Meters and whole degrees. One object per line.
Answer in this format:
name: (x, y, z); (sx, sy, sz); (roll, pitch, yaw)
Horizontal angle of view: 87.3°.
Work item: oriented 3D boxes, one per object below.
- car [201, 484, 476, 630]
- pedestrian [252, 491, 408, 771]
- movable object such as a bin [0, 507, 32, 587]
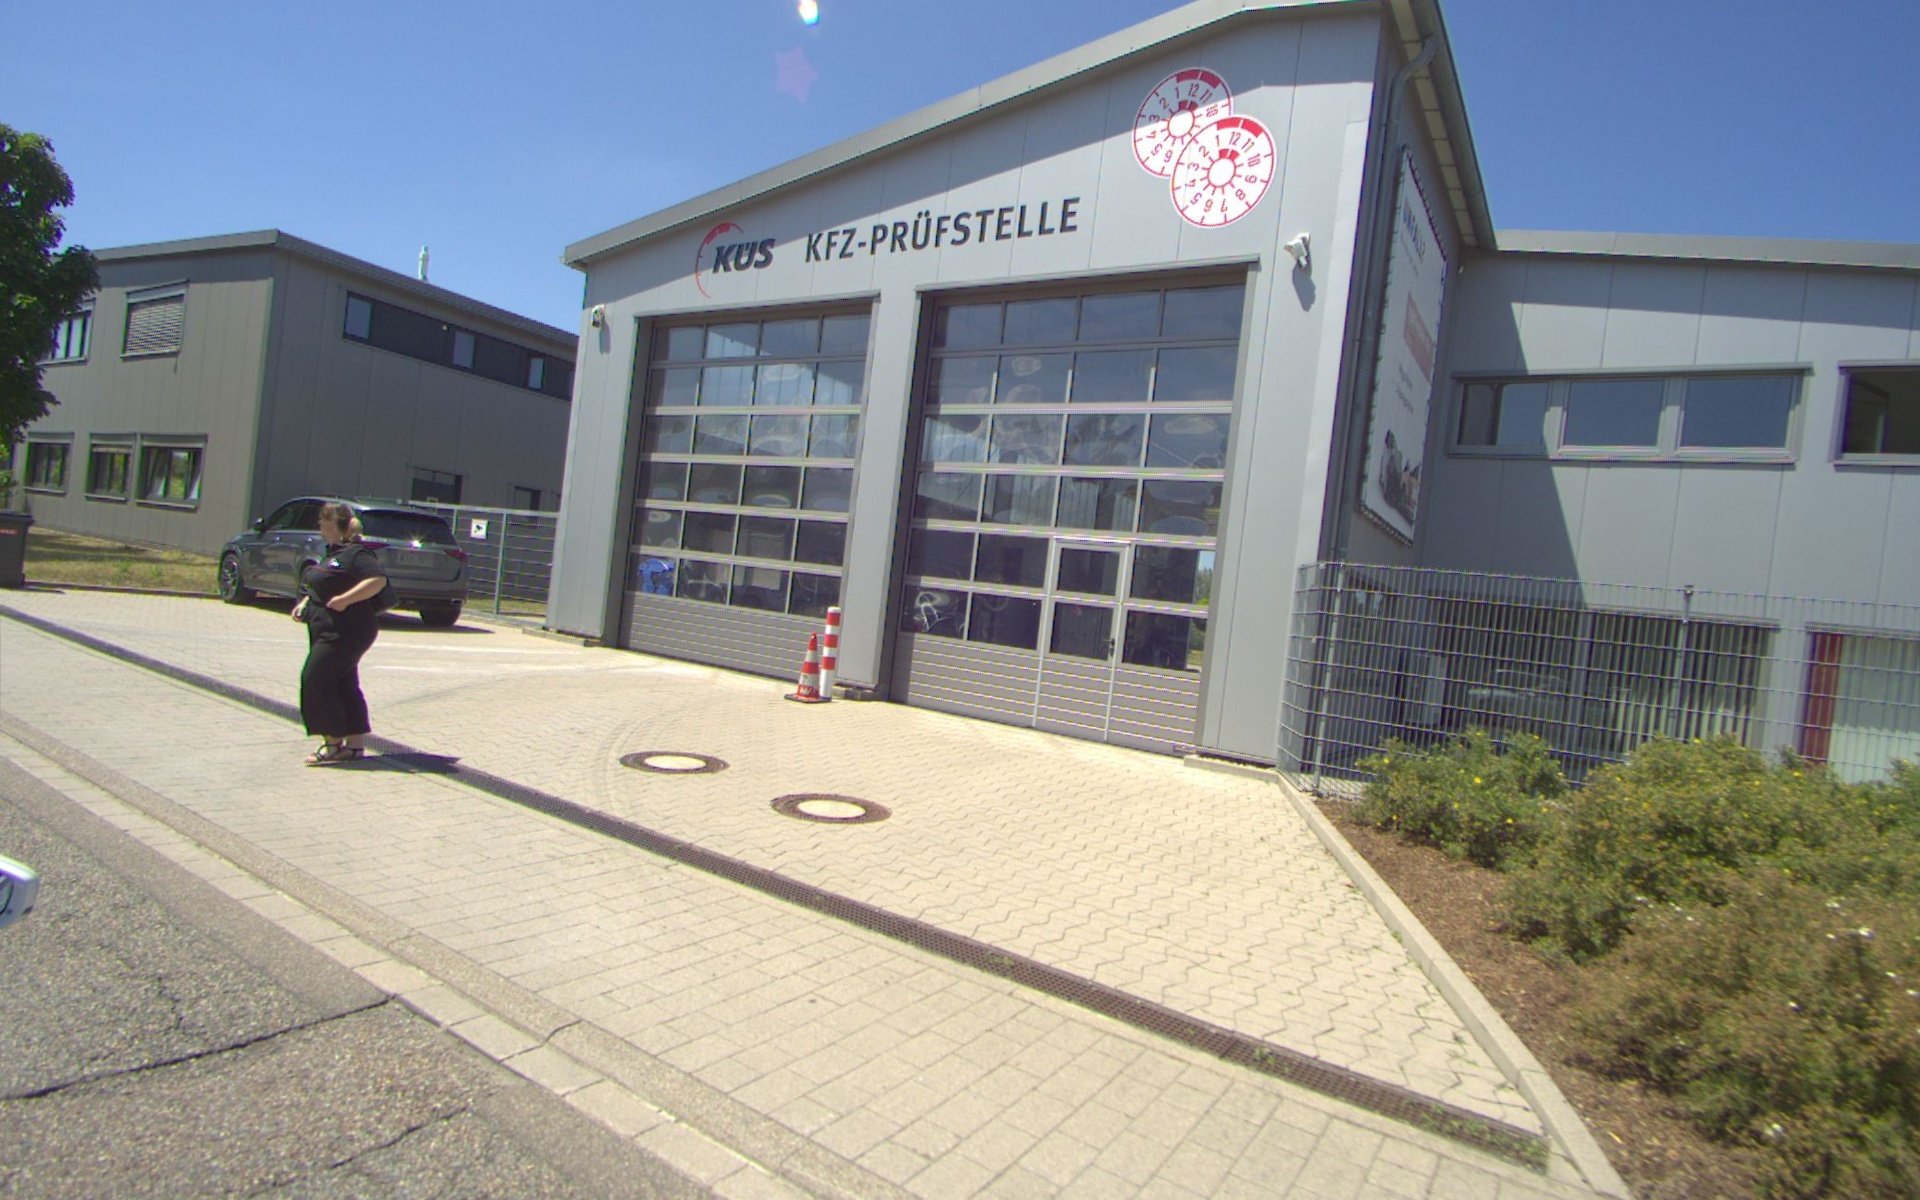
car: (-9.596, -0.707, 15.371); (4.829, 1.806, 1.784); (6, 1, 36)
pedestrian: (-3.959, 0.173, 6.321); (0.701, 1.636, 0.500); (7, 4, 26)
movable object such as a bin: (-13.427, -0.763, 13.997); (0.832, 1.066, 0.531); (7, 1, 35)
